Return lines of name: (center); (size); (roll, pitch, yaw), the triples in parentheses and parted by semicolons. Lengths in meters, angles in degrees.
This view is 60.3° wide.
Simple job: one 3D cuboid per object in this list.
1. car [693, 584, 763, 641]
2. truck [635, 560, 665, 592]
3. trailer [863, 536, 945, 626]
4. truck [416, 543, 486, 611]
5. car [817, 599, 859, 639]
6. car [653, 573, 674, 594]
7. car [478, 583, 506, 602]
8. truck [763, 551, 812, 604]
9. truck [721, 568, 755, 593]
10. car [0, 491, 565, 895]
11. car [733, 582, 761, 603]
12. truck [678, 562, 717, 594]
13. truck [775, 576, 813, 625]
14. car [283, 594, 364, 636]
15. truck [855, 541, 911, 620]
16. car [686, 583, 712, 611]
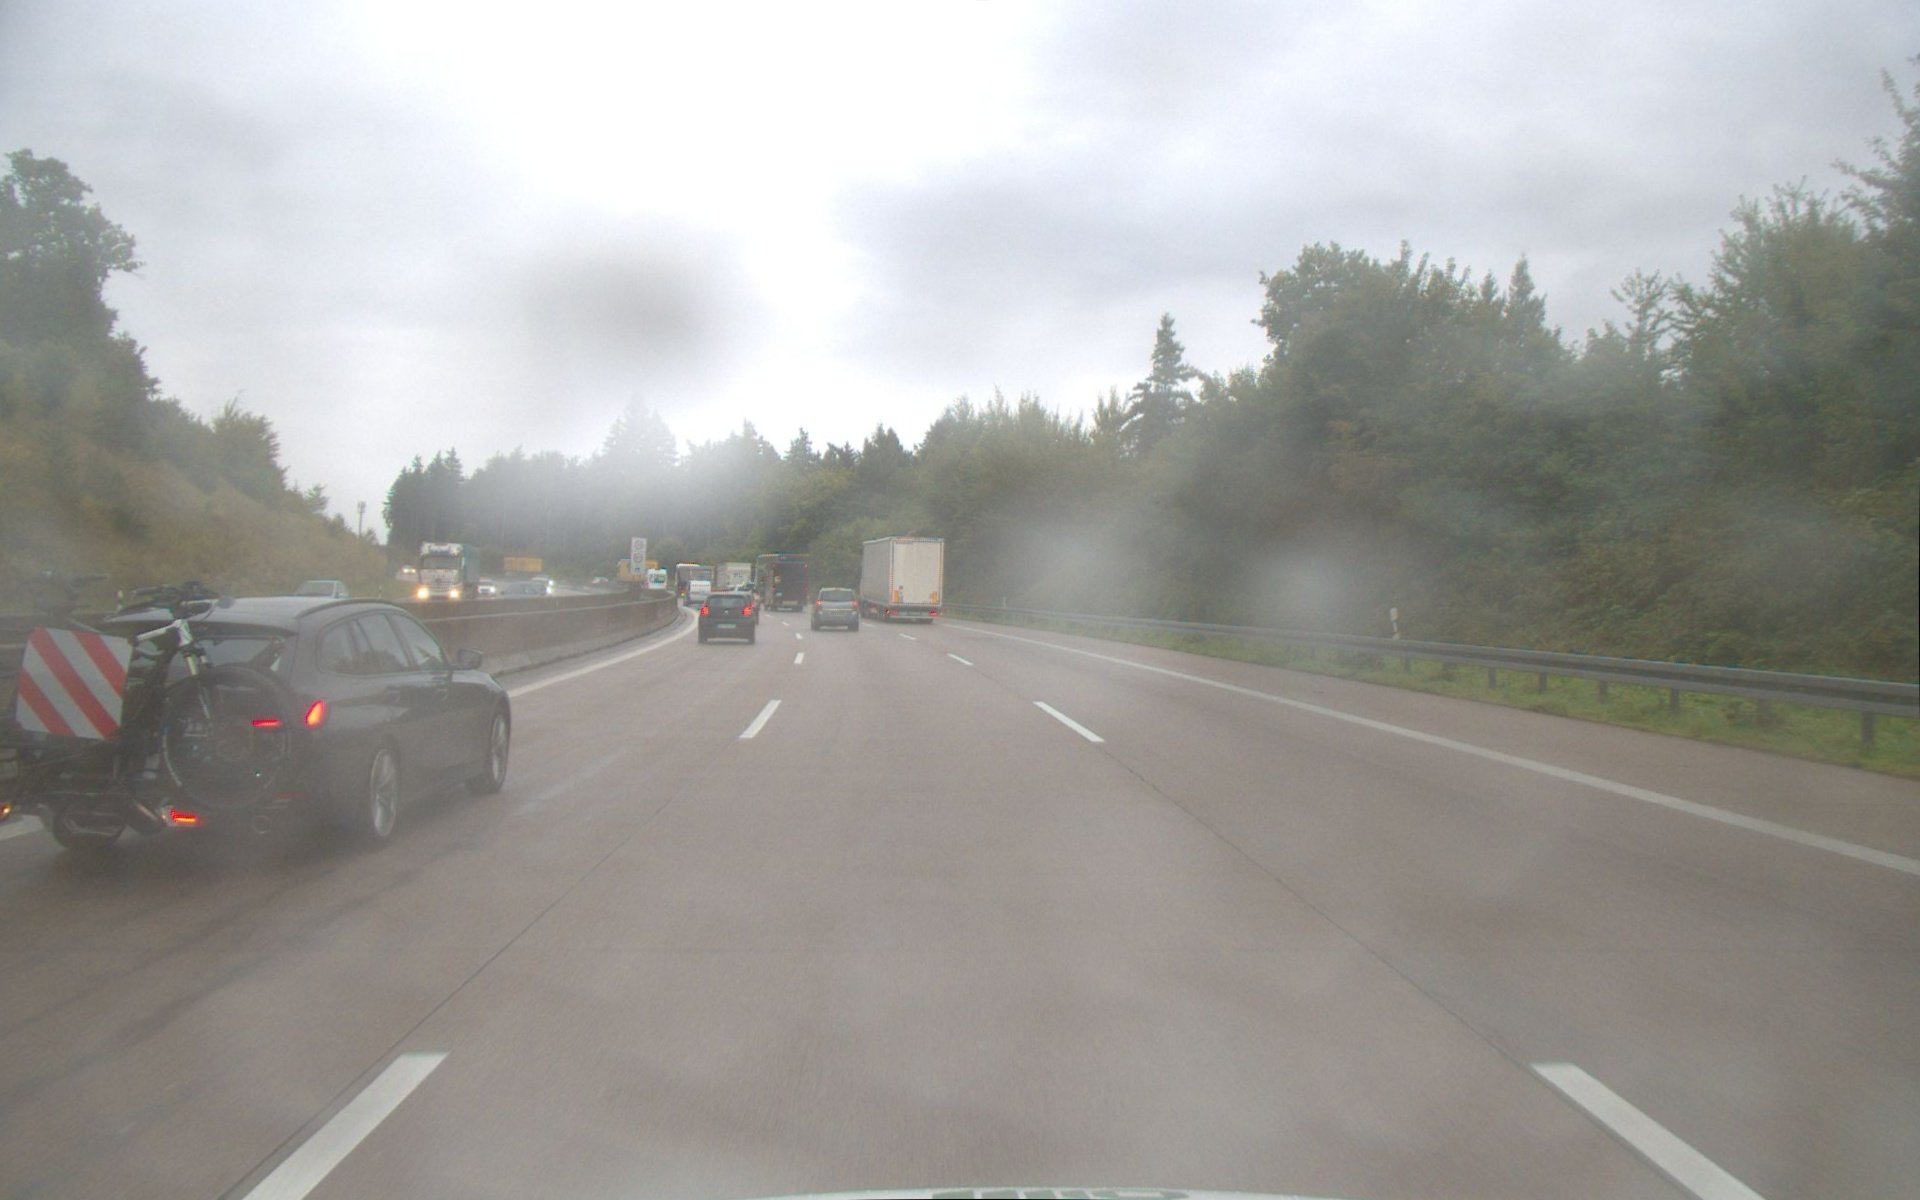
car: (-6.664, 0.338, 47.737); (1.650, 1.487, 3.681); (3, 0, -4)
truck: (-42.065, -3.207, 224.150); (3.675, 4.283, 6.795); (0, 0, -13)
trailer: (-2.955, -0.967, 82.890); (2.376, 4.139, 12.027); (1, 1, -10)
truck: (-31.186, -1.389, 101.556); (2.852, 3.957, 7.352); (1, 0, -8)
car: (-4.731, 0.710, 63.832); (1.523, 1.375, 3.680); (3, 0, -5)
car: (-29.523, -1.611, 164.671); (1.959, 2.095, 3.987); (0, 0, -13)
car: (-39.982, -0.613, 141.416); (1.698, 1.603, 4.236); (0, 0, -8)
truck: (-14.473, -1.929, 138.151); (3.308, 4.203, 10.413); (1, 1, -10)
truck: (-22.760, -2.050, 169.437); (2.922, 2.349, 6.649); (3, 0, -11)
car: (-4.174, 0.448, 11.225); (1.870, 1.979, 6.158); (0, 0, -4)
car: (-15.918, -0.584, 123.882); (1.845, 1.498, 3.997); (3, 0, -5)
truck: (-26.070, -2.186, 163.807); (3.031, 2.956, 7.874); (1, 1, -15)
truck: (-10.872, -0.034, 108.716); (2.225, 2.937, 7.896); (1, 1, -5)
car: (-23.805, 0.540, 61.990); (1.696, 1.519, 3.997); (0, 0, -4)
truck: (-4.202, -1.062, 89.942); (2.376, 4.139, 4.967); (1, 1, -10)
car: (-18.980, -0.212, 120.419); (1.692, 2.049, 3.652); (0, 0, -6)
